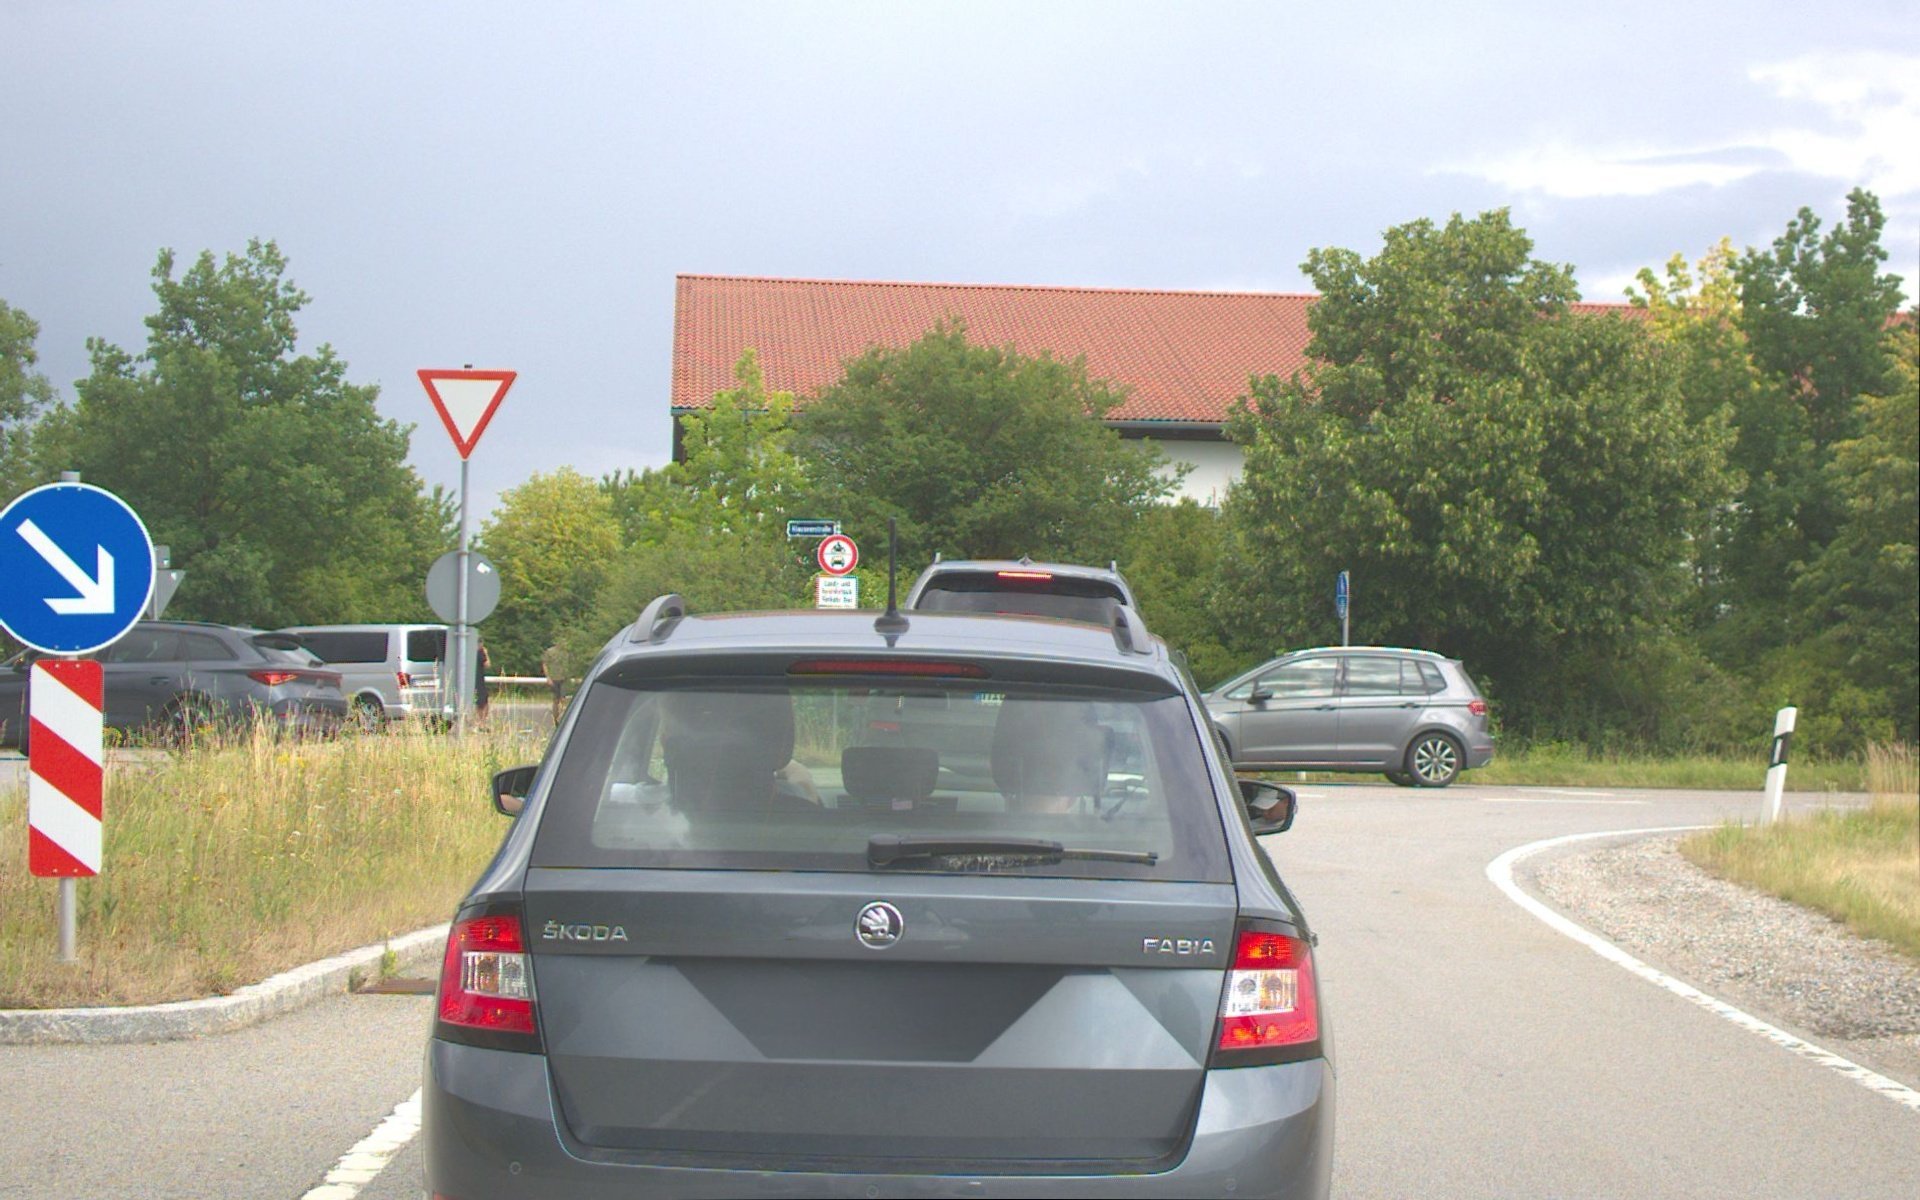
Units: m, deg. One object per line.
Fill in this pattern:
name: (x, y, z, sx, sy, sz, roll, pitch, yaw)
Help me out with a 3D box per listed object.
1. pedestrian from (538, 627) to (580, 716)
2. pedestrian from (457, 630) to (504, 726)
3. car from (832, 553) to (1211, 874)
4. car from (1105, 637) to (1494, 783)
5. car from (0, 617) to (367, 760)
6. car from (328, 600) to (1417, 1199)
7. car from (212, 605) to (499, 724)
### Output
pedestrian: (-7.644, 1.363, 65.528, 0.584, 1.677, 0.565, 1, 0, 22)
pedestrian: (-8.642, 1.399, 62.017, 0.529, 1.720, 0.640, 1, 0, 34)
car: (0.267, 0.688, 21.823, 1.993, 1.768, 4.644, 2, -1, -3)
car: (3.853, 1.245, 39.528, 4.210, 1.596, 2.000, 0, 0, -3)
car: (-8.421, 0.874, 35.132, 4.345, 1.340, 1.680, 1, 0, 17)
car: (-0.158, 0.746, 7.183, 1.676, 1.458, 3.708, 1, 0, -1)
car: (-11.003, 1.129, 62.477, 4.908, 2.007, 2.337, 1, 0, 35)
